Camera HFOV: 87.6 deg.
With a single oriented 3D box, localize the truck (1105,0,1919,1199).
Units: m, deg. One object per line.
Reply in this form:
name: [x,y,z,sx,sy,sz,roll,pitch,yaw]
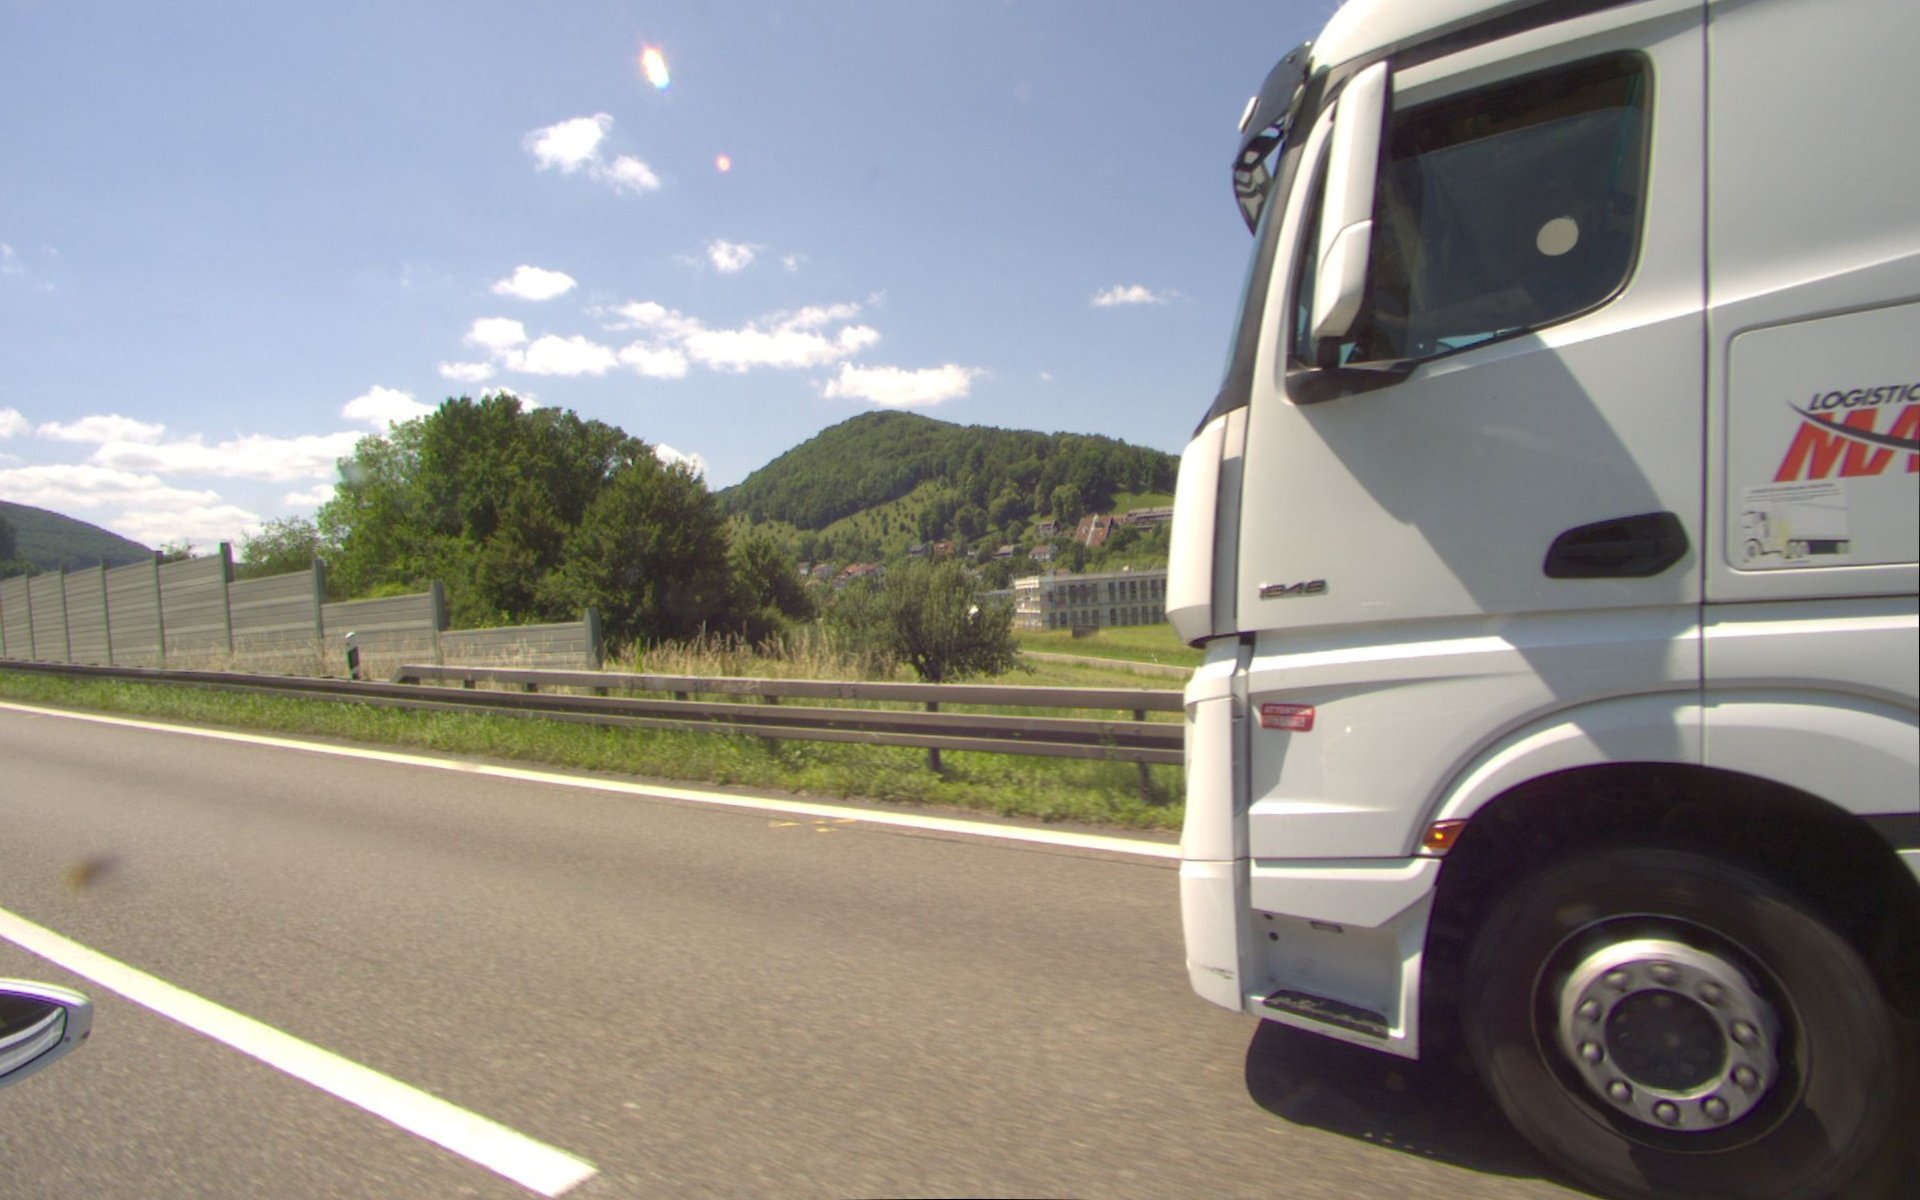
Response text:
truck: [3.570,-0.566,2.842,5.667,4.120,2.717,-1,-1,29]
